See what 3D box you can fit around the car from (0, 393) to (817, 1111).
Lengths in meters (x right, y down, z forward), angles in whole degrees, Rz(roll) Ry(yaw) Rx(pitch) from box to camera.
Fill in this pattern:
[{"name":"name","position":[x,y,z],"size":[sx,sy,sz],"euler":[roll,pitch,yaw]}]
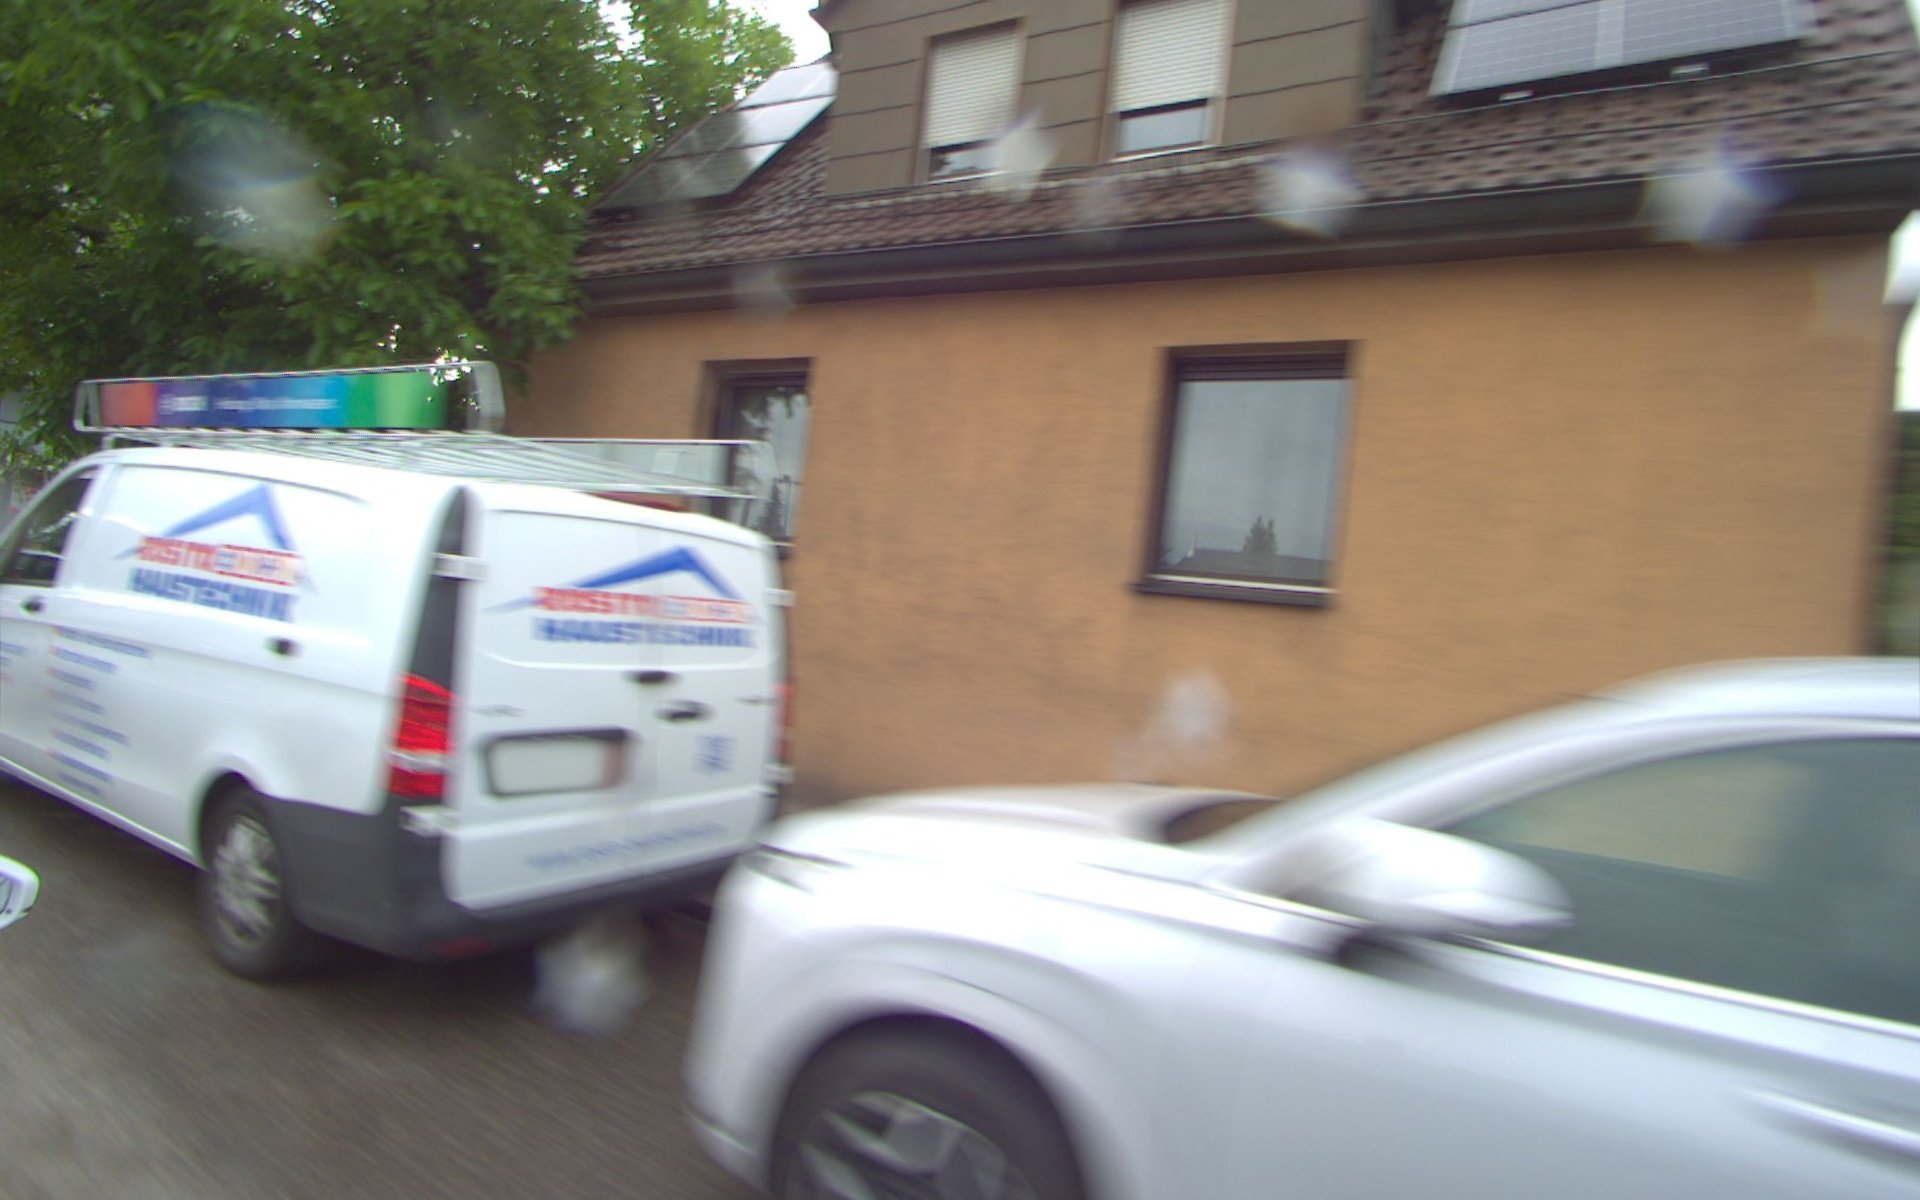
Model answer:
[{"name":"car","position":[-3.185,0.267,4.874],"size":[4.675,2.052,1.781],"euler":[8,-1,32]}]

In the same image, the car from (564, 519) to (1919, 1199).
[{"name":"car","position":[1.459,0.950,2.087],"size":[4.246,1.685,1.870],"euler":[7,-1,30]}]
